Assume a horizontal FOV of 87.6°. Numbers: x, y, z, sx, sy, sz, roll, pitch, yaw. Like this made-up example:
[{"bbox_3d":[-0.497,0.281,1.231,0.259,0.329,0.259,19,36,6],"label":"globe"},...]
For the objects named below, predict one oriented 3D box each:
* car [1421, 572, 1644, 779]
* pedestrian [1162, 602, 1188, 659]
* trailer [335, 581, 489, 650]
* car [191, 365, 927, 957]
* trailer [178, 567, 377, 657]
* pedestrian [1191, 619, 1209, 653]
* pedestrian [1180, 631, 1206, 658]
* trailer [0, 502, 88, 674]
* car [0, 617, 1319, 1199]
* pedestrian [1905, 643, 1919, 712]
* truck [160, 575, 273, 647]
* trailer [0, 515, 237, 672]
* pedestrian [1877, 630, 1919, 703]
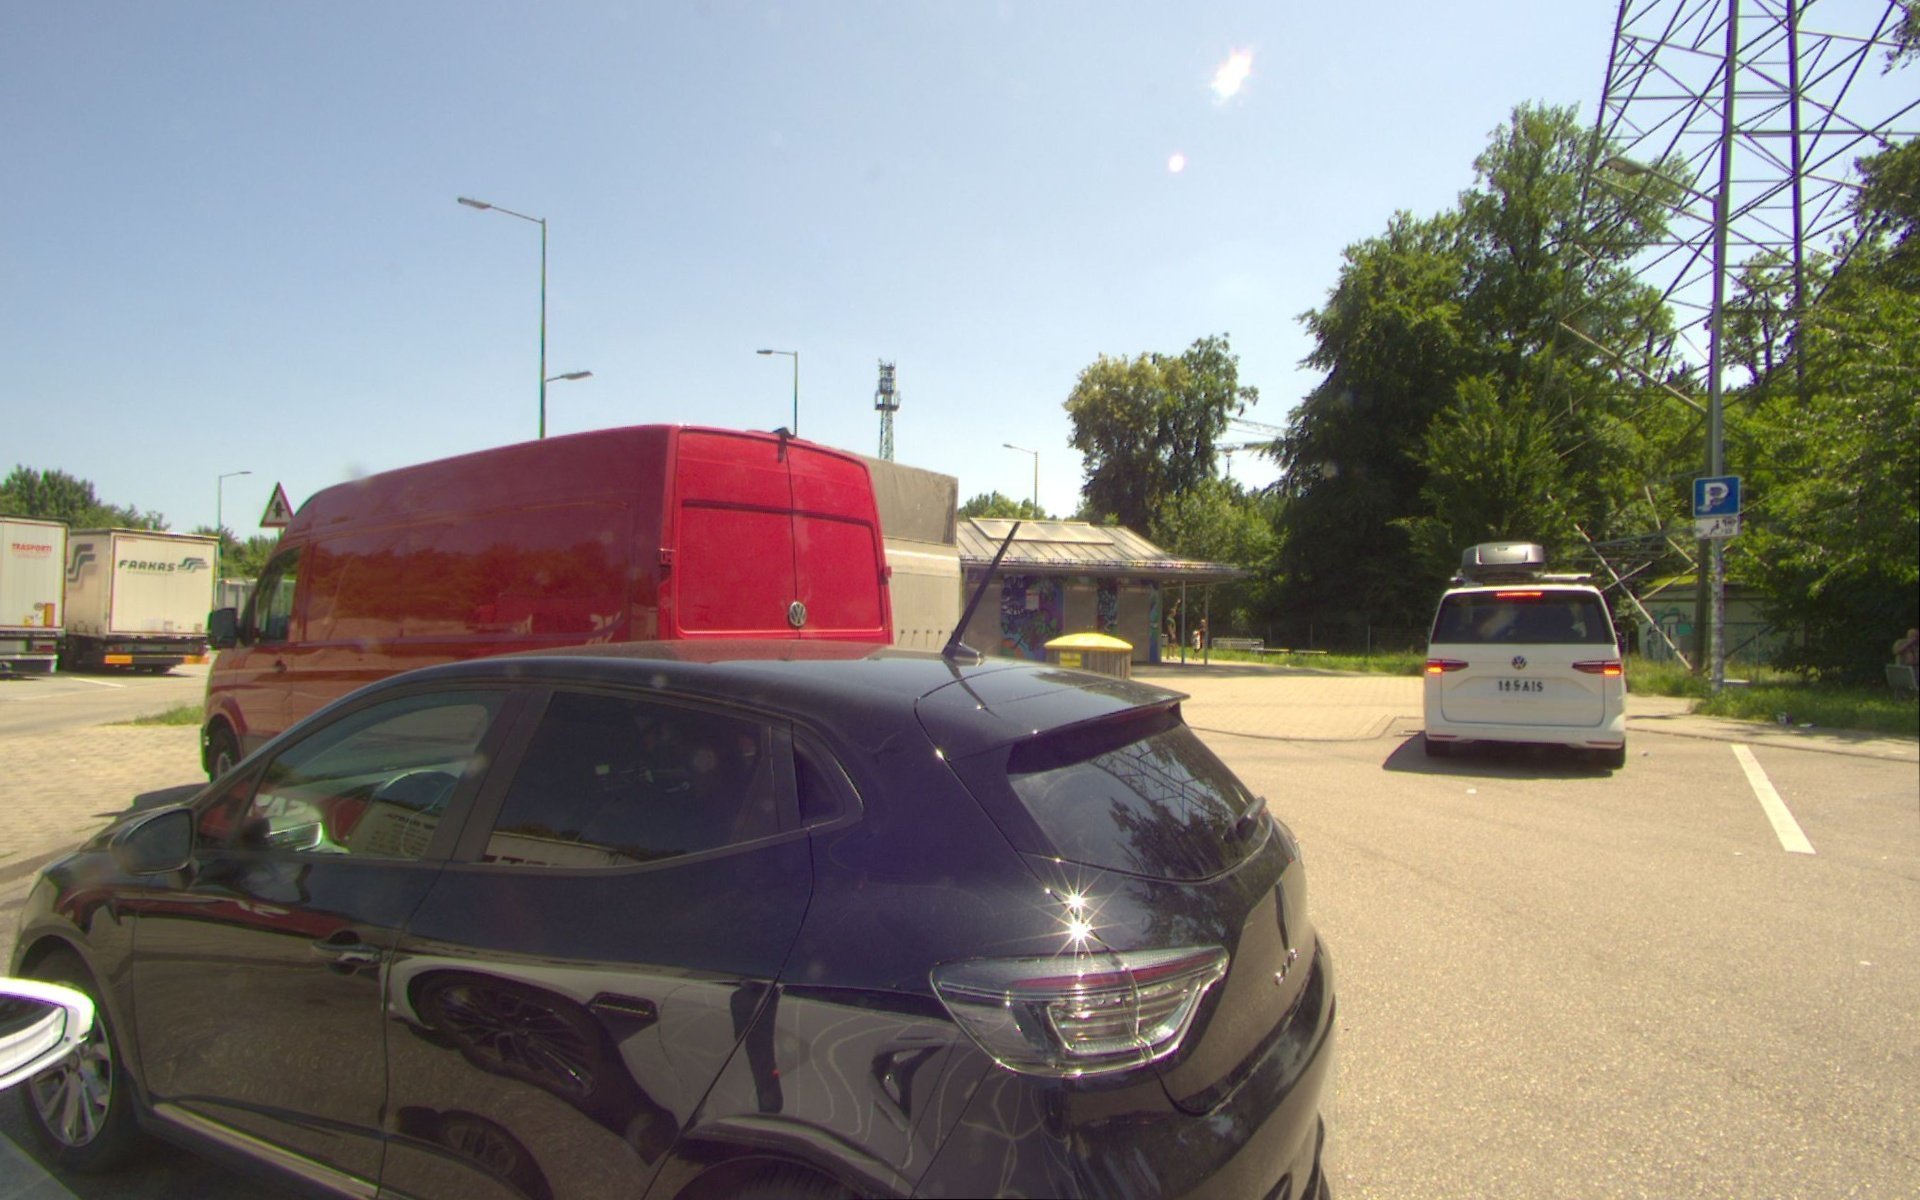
[{"bbox_3d":[6.531,0.763,11.846,1.881,1.937,4.549,-1,-1,26],"label":"car"},{"bbox_3d":[7.813,1.105,36.445,0.763,2.067,0.646,0,-1,-5],"label":"pedestrian"},{"bbox_3d":[-36.040,0.910,65.437,13.530,4.101,2.833,1,-2,34],"label":"trailer"},{"bbox_3d":[-3.345,0.306,7.361,6.310,2.731,2.060,0,-1,37],"label":"car"},{"bbox_3d":[-32.377,0.481,47.144,13.530,3.764,2.834,1,-2,34],"label":"trailer"},{"bbox_3d":[10.930,1.646,45.612,0.633,1.547,0.565,0,-1,-2],"label":"pedestrian"},{"bbox_3d":[8.382,1.593,36.020,0.763,0.960,0.646,0,-1,-5],"label":"pedestrian"},{"bbox_3d":[-28.960,-0.371,28.152,13.523,4.185,2.835,1,-2,33],"label":"trailer"},{"bbox_3d":[-1.053,0.831,2.910,3.757,1.501,1.736,0,-1,27],"label":"car"},{"bbox_3d":[17.199,1.346,17.480,0.876,1.192,0.666,-1,-2,32],"label":"pedestrian"},{"bbox_3d":[-37.686,0.565,50.743,5.405,3.407,2.847,1,-2,34],"label":"truck"},{"bbox_3d":[-27.651,-0.194,31.633,13.523,4.185,2.835,1,-2,33],"label":"trailer"},{"bbox_3d":[18.742,1.314,19.877,0.660,1.422,0.647,-1,-1,33],"label":"pedestrian"}]
